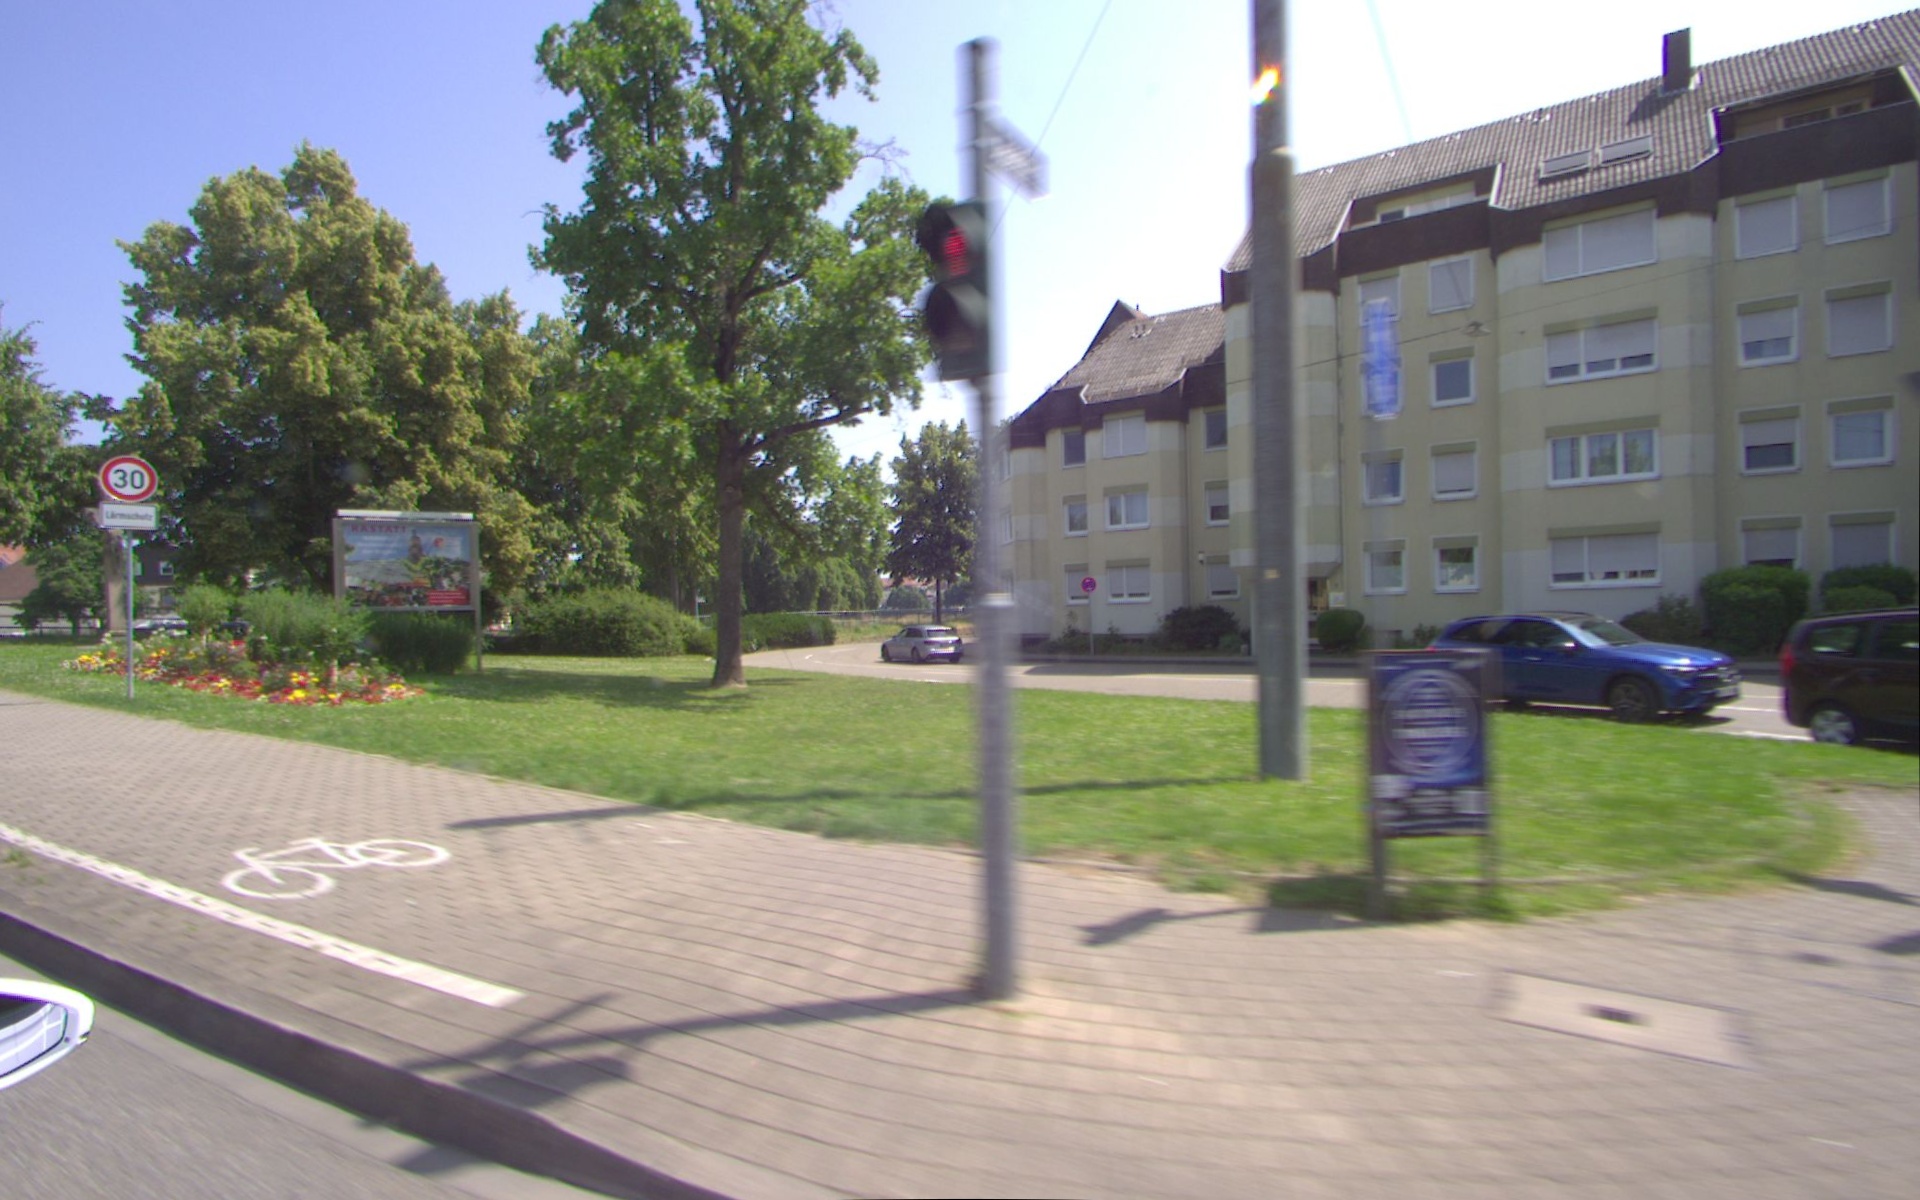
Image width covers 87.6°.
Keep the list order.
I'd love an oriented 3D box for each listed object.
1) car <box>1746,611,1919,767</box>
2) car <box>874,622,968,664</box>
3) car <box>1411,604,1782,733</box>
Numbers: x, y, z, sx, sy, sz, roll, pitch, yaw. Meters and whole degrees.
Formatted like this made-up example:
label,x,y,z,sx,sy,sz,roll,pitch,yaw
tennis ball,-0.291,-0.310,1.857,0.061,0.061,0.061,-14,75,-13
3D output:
label,x,y,z,sx,sy,sz,roll,pitch,yaw
car,11.238,0.915,10.387,1.881,1.653,4.818,-1,-2,-9
car,-1.575,1.654,38.575,1.870,1.518,4.511,0,-2,-27
car,10.088,1.032,16.349,1.970,1.723,4.749,-2,-1,-28
